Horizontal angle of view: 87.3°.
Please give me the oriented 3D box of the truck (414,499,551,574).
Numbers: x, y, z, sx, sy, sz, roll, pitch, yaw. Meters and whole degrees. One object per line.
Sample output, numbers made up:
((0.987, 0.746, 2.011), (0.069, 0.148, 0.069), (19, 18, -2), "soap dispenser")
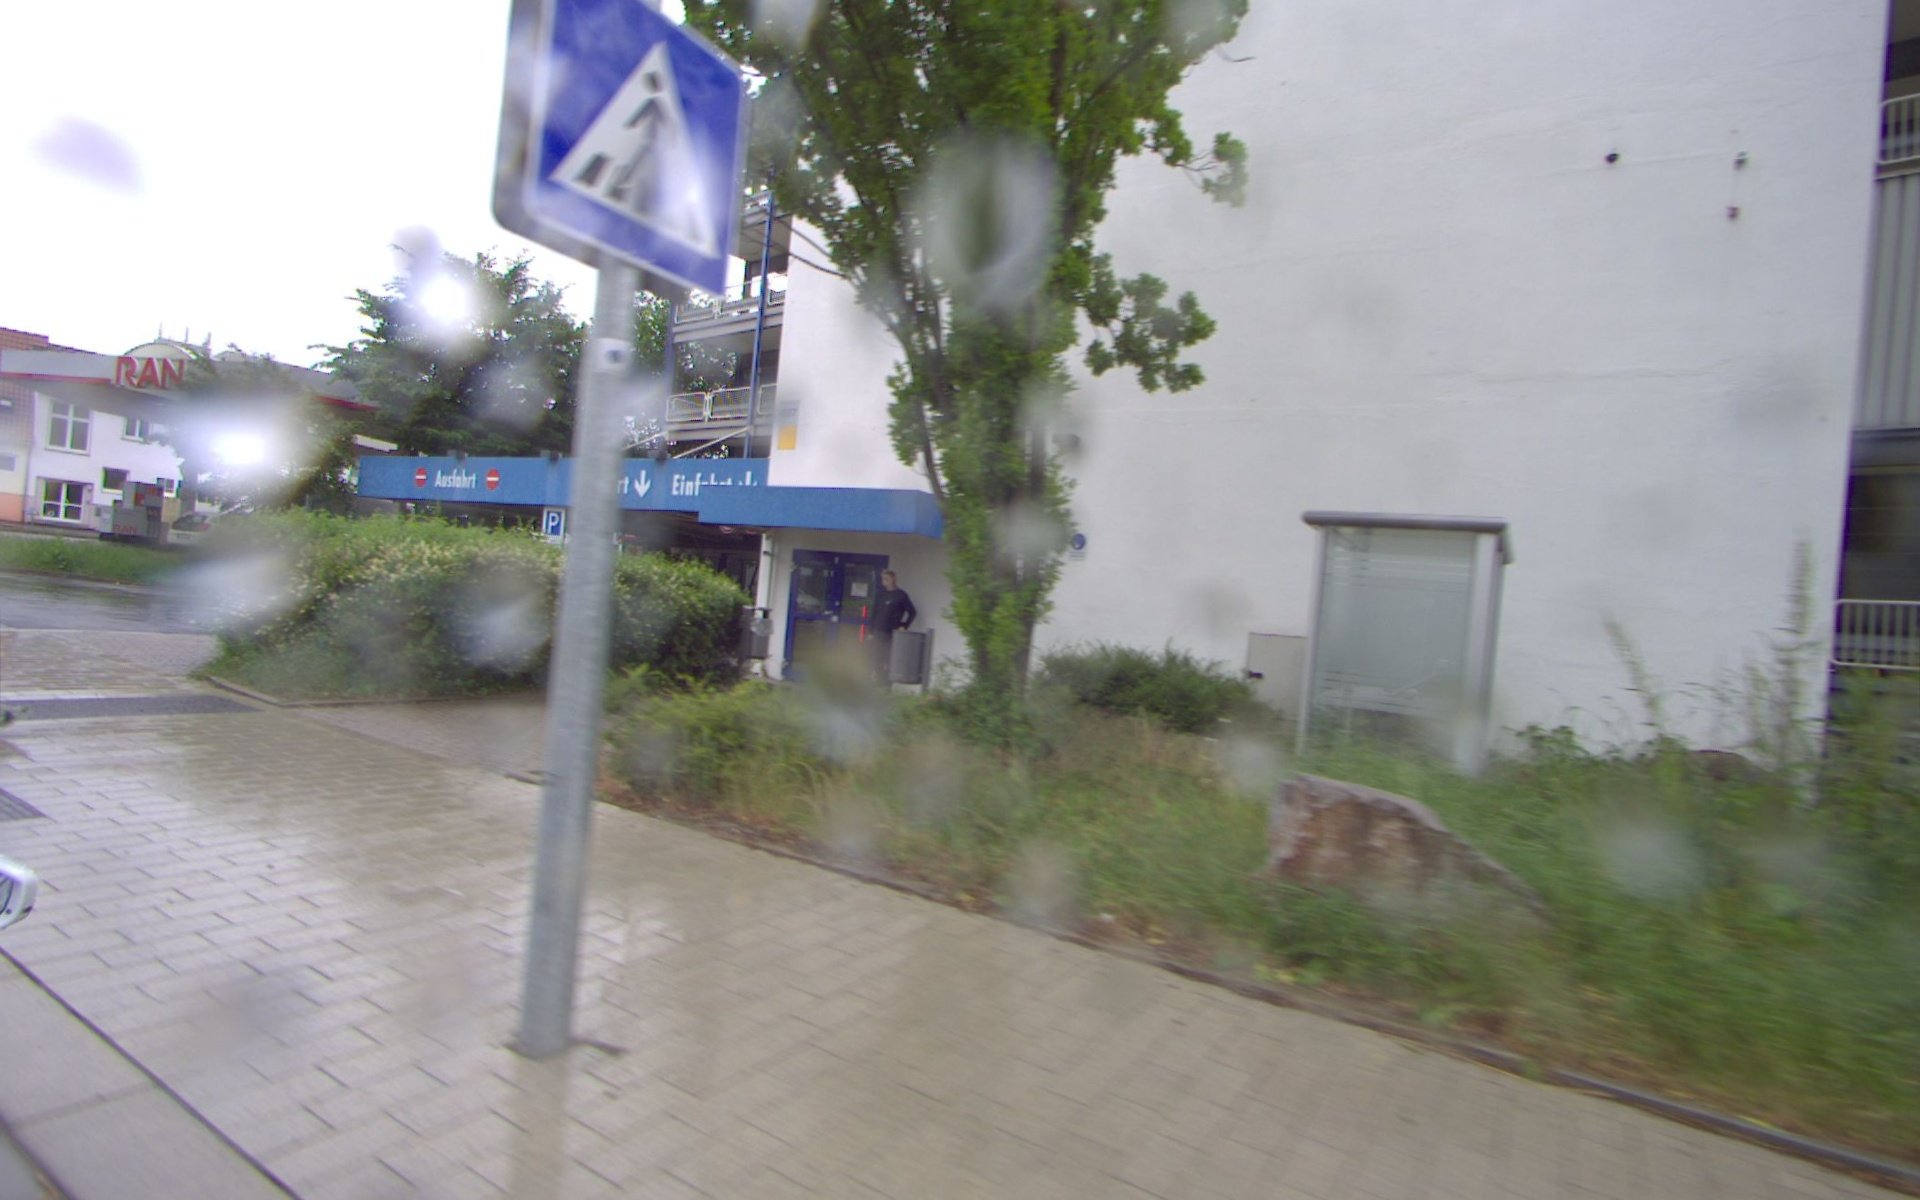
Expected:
((-16.315, -2.170, 34.399), (3.930, 2.034, 2.002), (5, -5, 26), "truck")

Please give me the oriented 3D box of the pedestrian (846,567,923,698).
((-1.123, 0.492, 15.029), (0.759, 1.858, 0.570), (6, 0, 29), "pedestrian")

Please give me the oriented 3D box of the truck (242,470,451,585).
((-26.731, -2.999, 44.404), (2.629, 3.479, 7.765), (5, -5, 17), "truck")

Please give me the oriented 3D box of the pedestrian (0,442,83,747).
((-5.918, -0.073, 5.766), (0.759, 1.745, 1.015), (6, 0, 29), "pedestrian")

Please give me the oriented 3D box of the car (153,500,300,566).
((-24.868, -2.233, 34.250), (1.917, 1.573, 3.533), (6, -3, 12), "car")
